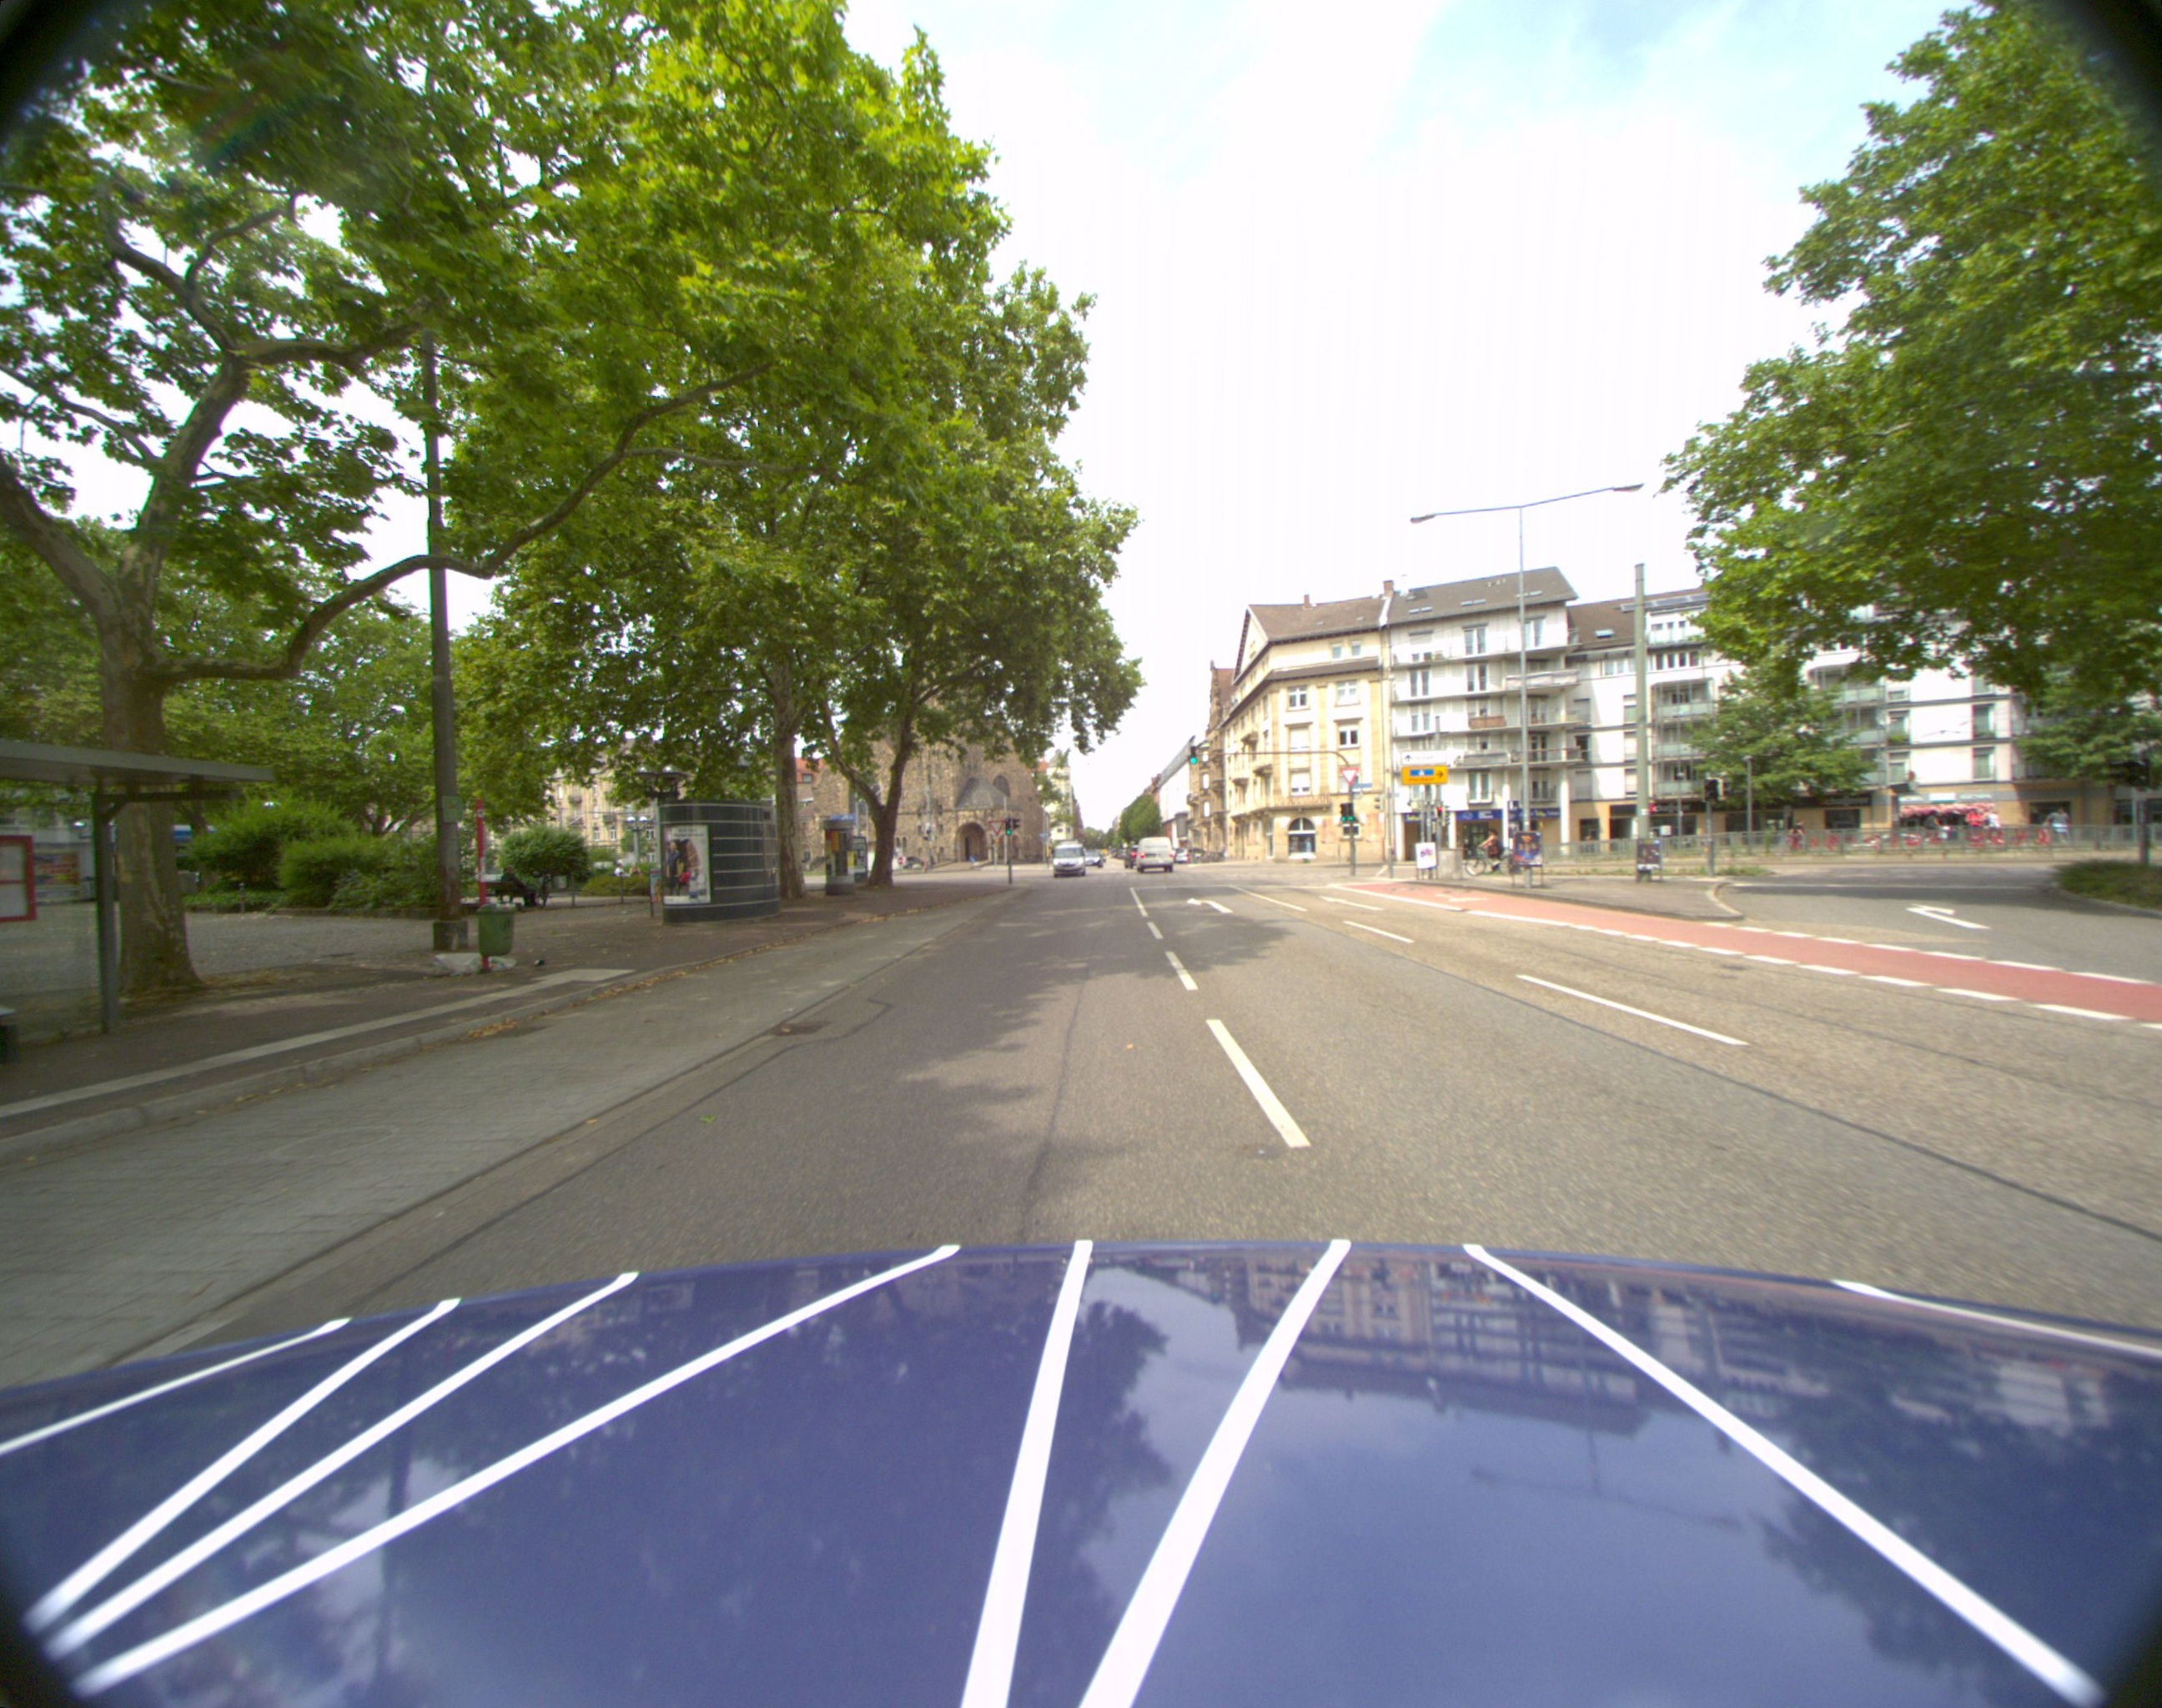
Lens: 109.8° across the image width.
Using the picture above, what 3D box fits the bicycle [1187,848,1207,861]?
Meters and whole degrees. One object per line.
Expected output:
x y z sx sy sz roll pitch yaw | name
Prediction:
11.353 0.030 74.307 1.872 1.185 0.456 -2 0 20 | bicycle

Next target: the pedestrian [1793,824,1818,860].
32.179 -0.530 33.742 0.597 1.543 0.671 -1 1 22 | pedestrian

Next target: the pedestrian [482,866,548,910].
-16.722 0.995 22.452 1.096 1.206 1.142 -1 1 26 | pedestrian

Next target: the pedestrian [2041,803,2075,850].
48.027 -1.343 37.350 0.756 2.237 0.762 -1 1 26 | pedestrian

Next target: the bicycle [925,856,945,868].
-14.807 0.778 76.965 1.809 1.079 0.599 -3 1 12 | bicycle

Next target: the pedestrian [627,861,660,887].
-22.200 1.011 38.561 1.176 1.310 0.869 -2 0 23 | pedestrian

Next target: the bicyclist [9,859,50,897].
-46.685 1.061 33.749 0.868 1.643 0.561 -2 0 -25 | bicyclist

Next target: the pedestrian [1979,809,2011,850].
45.246 -1.196 37.636 0.756 2.002 0.762 -1 1 26 | pedestrian

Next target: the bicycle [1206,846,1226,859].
13.334 -0.157 74.827 1.830 1.185 0.397 -4 0 0 | bicycle

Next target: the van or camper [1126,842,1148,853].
10.397 -1.206 141.061 3.997 2.002 1.999 -2 1 -2 | van or camper

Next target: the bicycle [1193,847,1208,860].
11.936 -0.020 75.976 1.345 1.185 0.397 -3 0 -2 | bicycle

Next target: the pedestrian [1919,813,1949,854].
42.581 -1.037 37.933 0.756 2.002 0.762 -1 1 26 | pedestrian

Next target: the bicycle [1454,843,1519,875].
14.378 0.150 26.952 1.965 1.088 0.628 1 1 35 | bicycle

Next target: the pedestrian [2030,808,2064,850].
46.998 -1.202 36.984 0.756 2.002 0.762 -1 1 26 | pedestrian

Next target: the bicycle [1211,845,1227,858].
13.702 -0.215 75.472 1.345 1.185 0.397 -4 1 -5 | bicycle

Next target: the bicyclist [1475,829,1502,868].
14.423 -0.187 26.907 0.750 1.334 0.493 -1 0 36 | bicyclist

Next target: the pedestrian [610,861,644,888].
-22.490 1.007 37.645 1.176 1.310 0.869 -2 0 23 | pedestrian

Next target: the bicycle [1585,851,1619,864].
35.402 0.224 51.666 1.786 0.811 0.653 -1 1 25 | bicycle

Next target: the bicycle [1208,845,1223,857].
13.430 -0.294 76.046 1.345 1.185 0.397 -4 1 -5 | bicycle

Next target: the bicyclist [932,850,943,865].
-14.542 0.382 76.902 0.838 1.488 0.589 -3 1 12 | bicyclist

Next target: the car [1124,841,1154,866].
4.089 -0.023 54.231 1.827 1.638 4.427 -2 0 1 | car

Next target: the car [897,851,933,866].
-19.306 0.516 88.610 1.995 1.641 4.007 -1 0 26 | car

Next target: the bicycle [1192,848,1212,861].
12.030 0.074 75.337 1.821 1.185 0.397 -5 0 -2 | bicycle

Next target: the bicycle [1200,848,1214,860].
12.749 0.016 77.069 1.345 1.185 0.397 -2 0 -1 | bicycle

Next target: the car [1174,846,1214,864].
12.182 0.140 81.698 4.042 1.580 1.755 -4 -1 -38 | car

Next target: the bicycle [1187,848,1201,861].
11.491 0.035 77.405 1.345 1.185 0.397 -4 0 0 | bicycle

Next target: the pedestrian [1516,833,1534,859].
26.999 -0.505 46.184 0.837 1.543 0.869 -1 1 25 | pedestrian

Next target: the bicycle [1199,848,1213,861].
12.752 0.060 77.572 1.345 1.185 0.397 -3 0 -4 | bicycle

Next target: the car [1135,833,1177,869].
4.312 -0.167 44.486 1.928 1.925 4.947 -2 0 1 | car

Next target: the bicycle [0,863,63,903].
-46.943 1.284 33.607 2.187 1.695 0.721 -2 0 -26 | bicycle

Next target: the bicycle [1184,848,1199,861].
11.117 0.061 76.641 1.345 1.185 0.397 -4 1 -5 | bicycle

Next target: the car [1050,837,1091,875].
-0.541 0.082 43.961 2.082 2.039 4.681 -1 0 2 | car

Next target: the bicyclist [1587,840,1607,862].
35.164 -0.199 51.777 0.998 1.435 0.642 -1 1 25 | bicyclist
